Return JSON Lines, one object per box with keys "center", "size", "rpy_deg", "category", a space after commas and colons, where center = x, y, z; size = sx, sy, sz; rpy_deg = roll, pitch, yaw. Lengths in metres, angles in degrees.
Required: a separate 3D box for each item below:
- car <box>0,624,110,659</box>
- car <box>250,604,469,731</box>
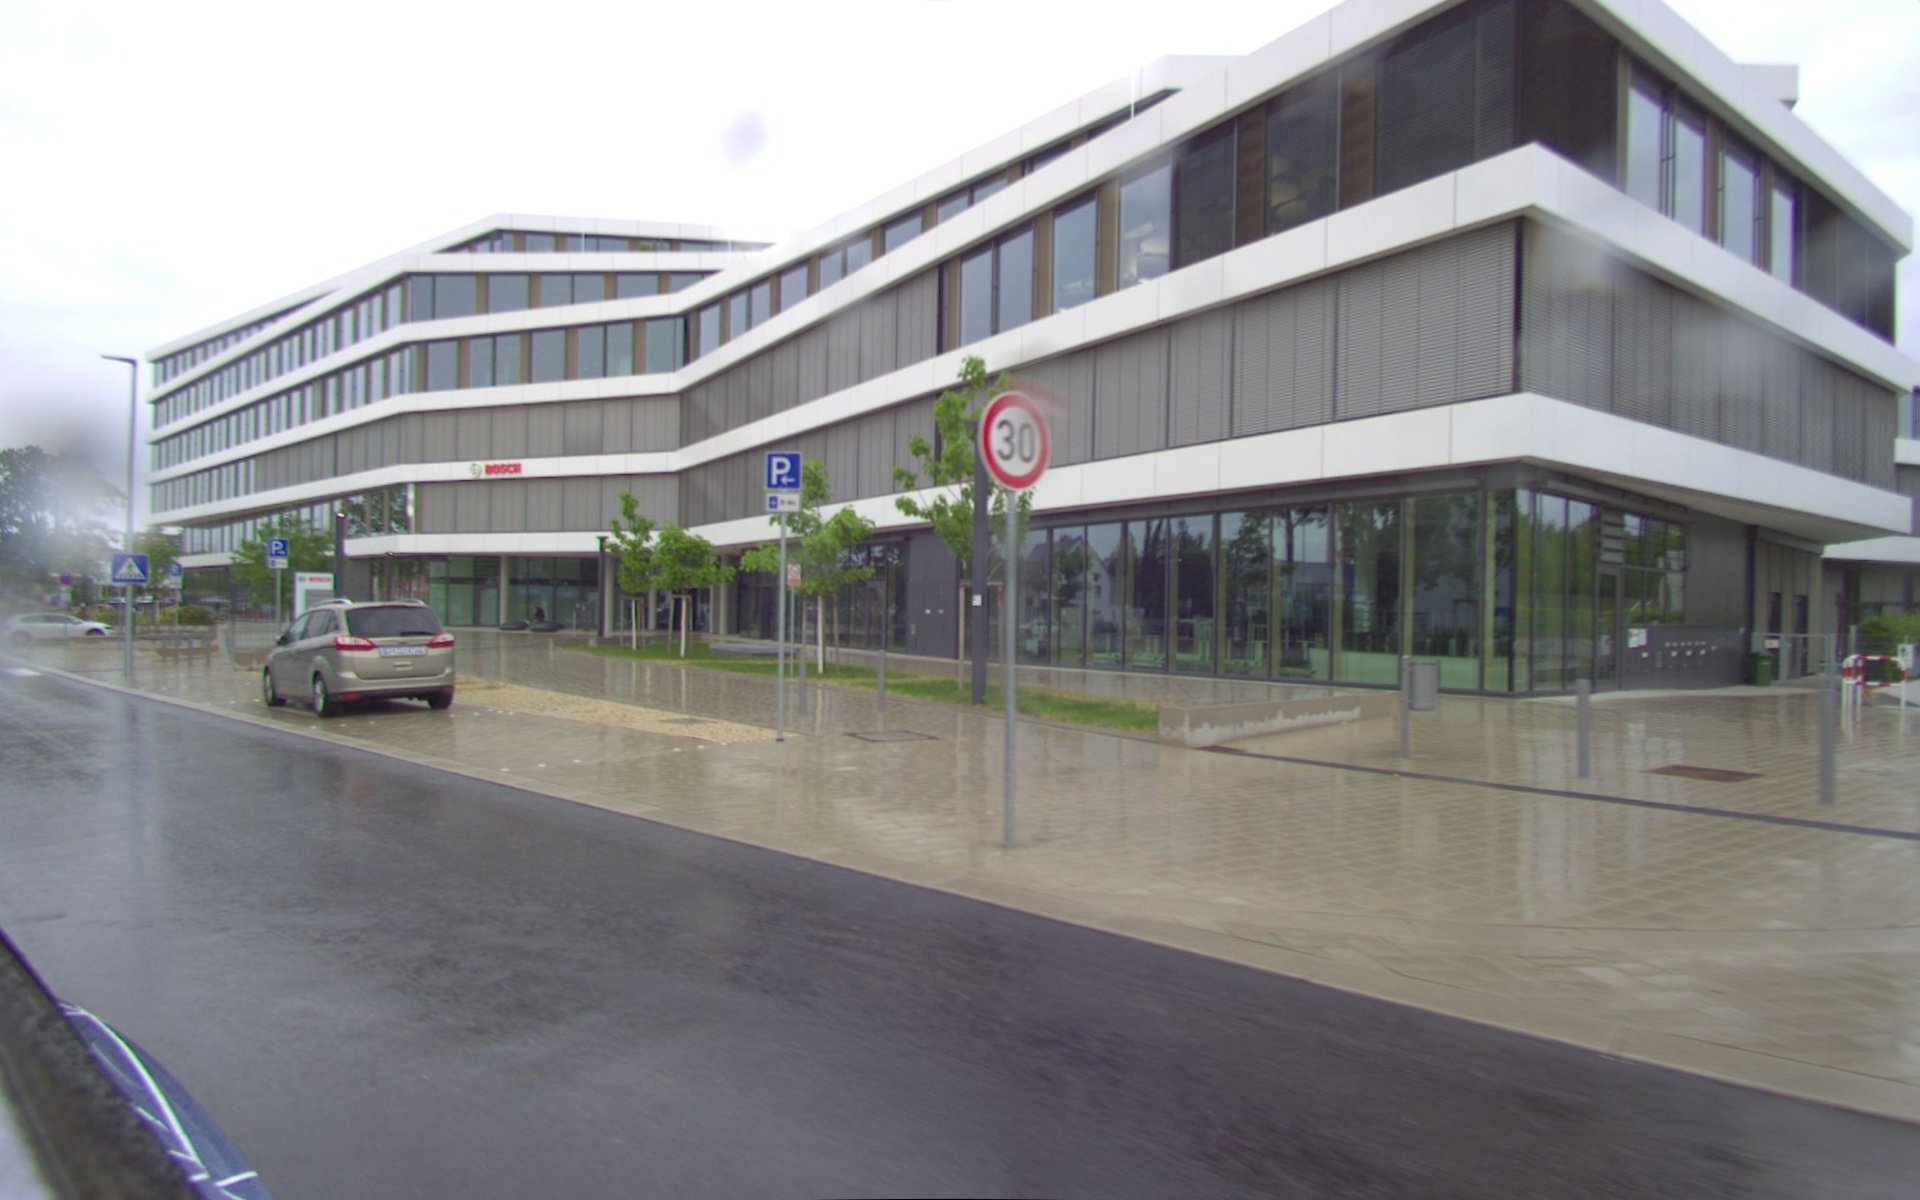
{"center": [-42.461, 1.911, 47.278], "size": [4.109, 1.430, 2.001], "rpy_deg": [-2, 0, -44], "category": "car"}
{"center": [-9.511, 0.955, 15.882], "size": [4.323, 1.719, 1.817], "rpy_deg": [-1, -2, 43], "category": "car"}
